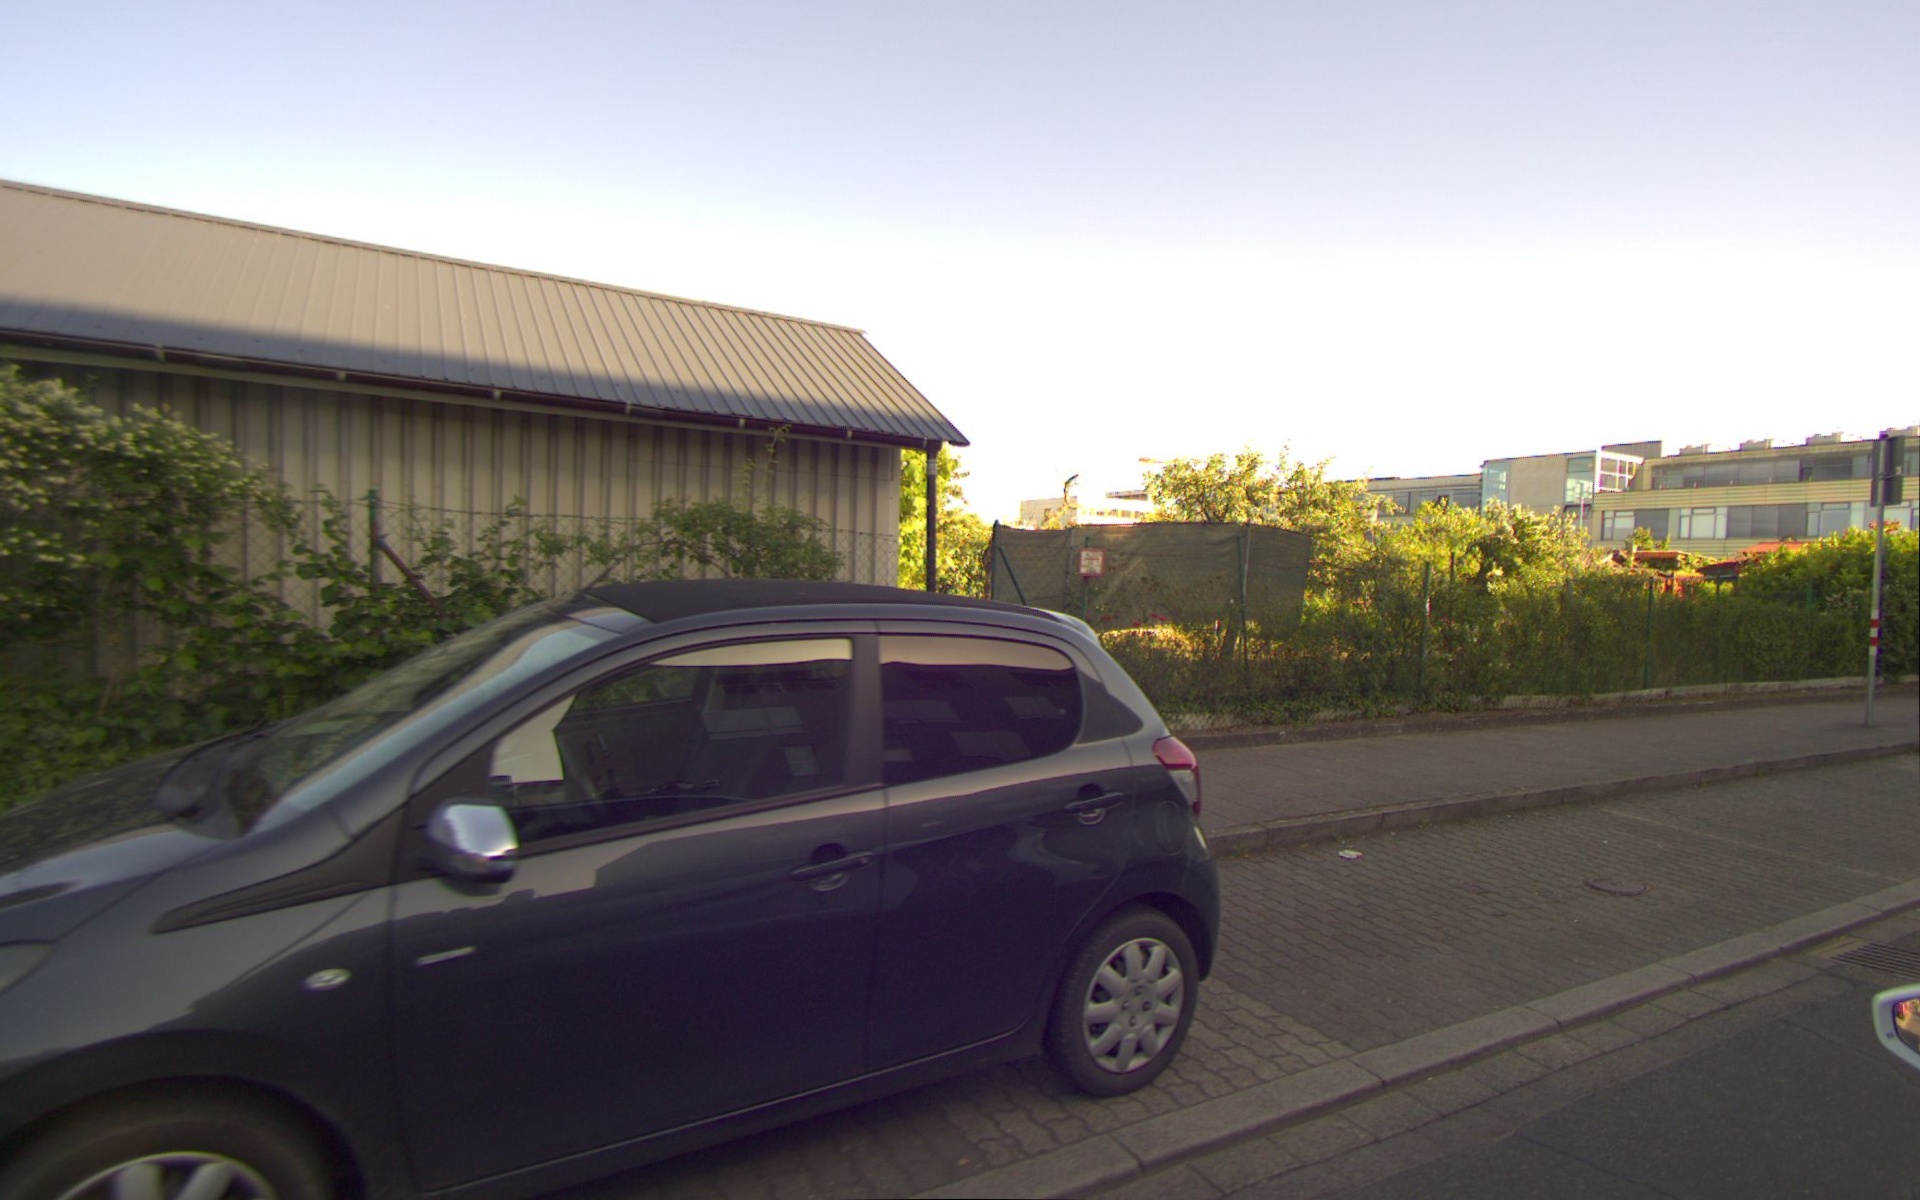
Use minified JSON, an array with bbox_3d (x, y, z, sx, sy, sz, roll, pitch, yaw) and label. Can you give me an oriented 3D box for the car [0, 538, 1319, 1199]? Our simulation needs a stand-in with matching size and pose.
[{"bbox_3d":[-0.844,0.686,2.889,3.528,1.515,1.552,1,4,-30],"label":"car"}]
